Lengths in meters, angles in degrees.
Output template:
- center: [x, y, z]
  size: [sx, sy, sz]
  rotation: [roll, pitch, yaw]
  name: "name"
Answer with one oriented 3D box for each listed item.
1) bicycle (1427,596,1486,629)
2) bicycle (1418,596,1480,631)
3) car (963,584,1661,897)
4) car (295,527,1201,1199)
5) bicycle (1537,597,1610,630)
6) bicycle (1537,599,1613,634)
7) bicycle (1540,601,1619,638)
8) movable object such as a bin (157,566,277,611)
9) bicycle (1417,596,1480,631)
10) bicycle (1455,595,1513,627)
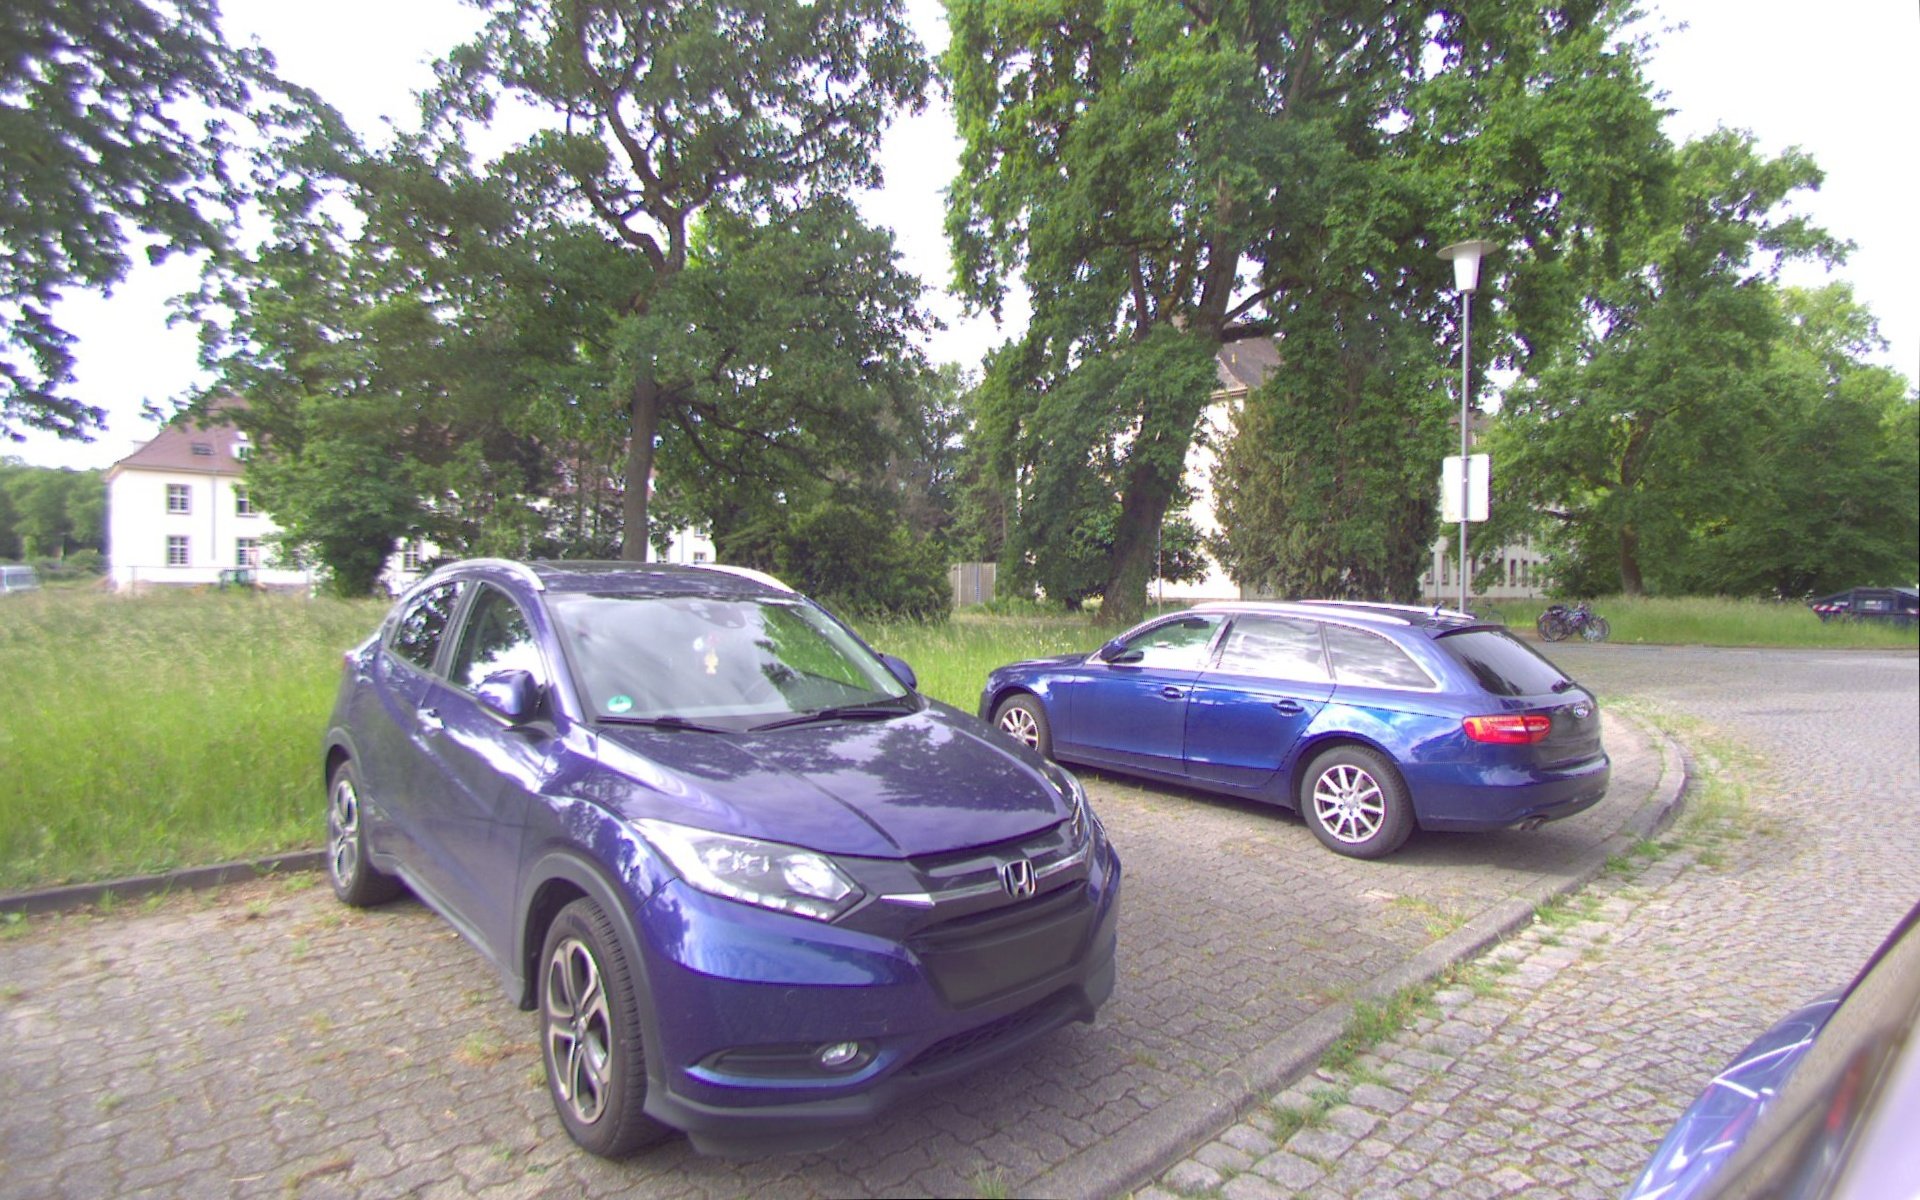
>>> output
- center: [17.455, 0.426, 35.640]
  size: [1.837, 1.137, 0.617]
  rotation: [0, 0, 24]
  name: "bicycle"
- center: [16.530, 0.444, 34.239]
  size: [1.837, 1.137, 0.617]
  rotation: [0, 0, 24]
  name: "bicycle"
- center: [2.135, 0.667, 7.286]
  size: [1.753, 1.439, 4.480]
  rotation: [0, 2, -40]
  name: "car"
- center: [-1.278, 0.591, 4.172]
  size: [1.763, 1.591, 4.167]
  rotation: [-1, 2, -43]
  name: "car"
- center: [20.592, 0.448, 33.989]
  size: [2.007, 1.090, 0.617]
  rotation: [0, 0, 24]
  name: "bicycle"
- center: [19.501, 0.521, 32.123]
  size: [1.948, 1.090, 0.584]
  rotation: [0, 0, 20]
  name: "bicycle"
- center: [18.738, 0.574, 30.662]
  size: [1.948, 1.090, 0.584]
  rotation: [0, 0, 20]
  name: "bicycle"
- center: [-46.279, -0.738, 63.212]
  size: [5.861, 2.688, 2.176]
  rotation: [-1, 0, -32]
  name: "movable object such as a bin"
- center: [16.237, 0.451, 33.673]
  size: [1.837, 1.137, 0.617]
  rotation: [0, 0, 24]
  name: "bicycle"
- center: [19.158, 0.391, 37.014]
  size: [1.837, 1.137, 0.617]
  rotation: [0, 0, 24]
  name: "bicycle"
